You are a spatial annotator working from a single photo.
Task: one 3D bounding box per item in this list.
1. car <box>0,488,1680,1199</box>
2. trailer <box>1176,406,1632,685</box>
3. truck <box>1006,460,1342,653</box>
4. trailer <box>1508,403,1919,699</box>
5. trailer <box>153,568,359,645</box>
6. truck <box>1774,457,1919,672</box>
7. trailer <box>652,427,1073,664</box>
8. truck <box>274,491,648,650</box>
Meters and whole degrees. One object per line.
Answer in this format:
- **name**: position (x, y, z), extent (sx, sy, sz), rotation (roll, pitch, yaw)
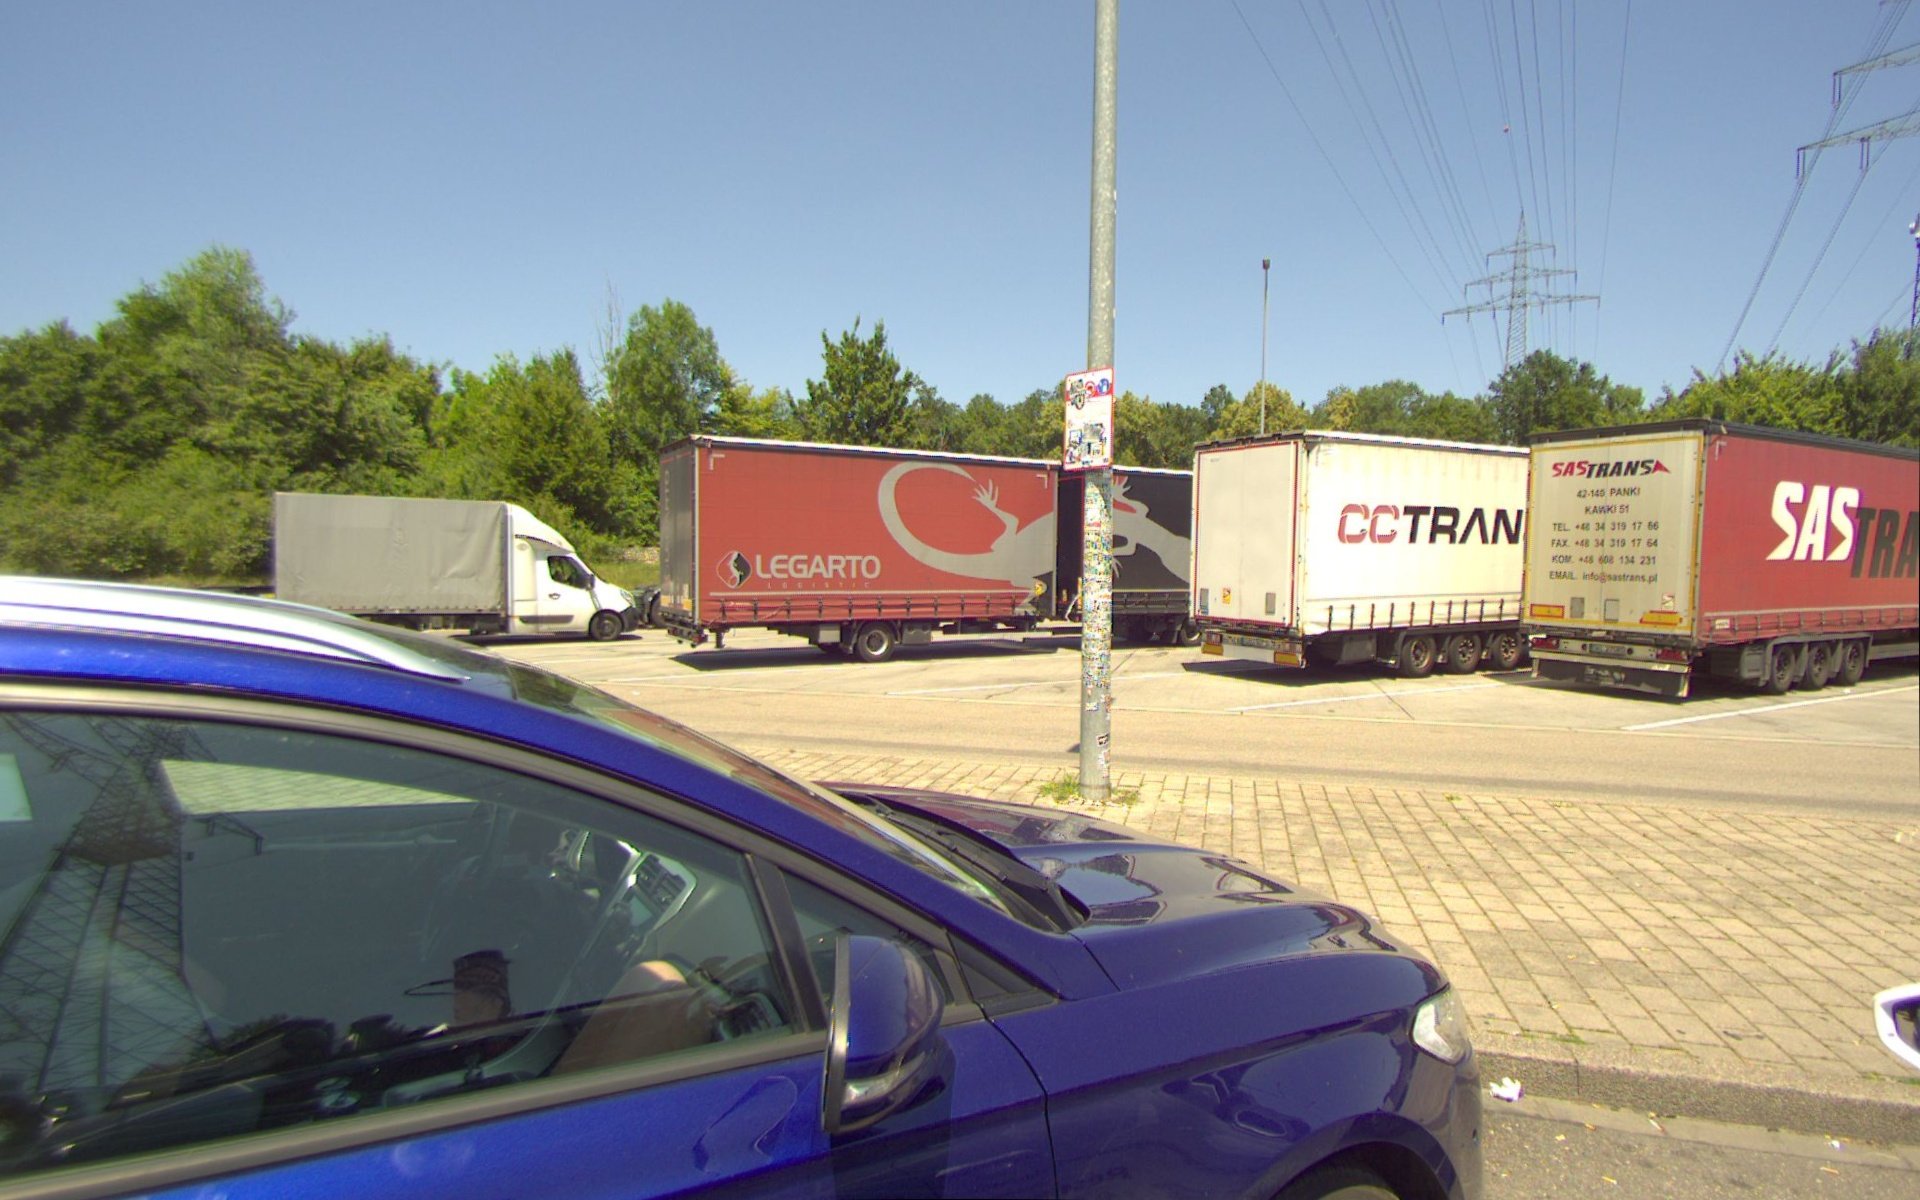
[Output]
- **car**: position (-1.002, 0.654, 1.472), extent (4.419, 1.485, 1.765), rotation (0, 1, -32)
- **trailer**: position (8.715, -0.832, 19.116), extent (9.614, 4.321, 2.733), rotation (0, 1, -29)
- **truck**: position (5.404, -0.913, 24.591), extent (8.534, 4.073, 2.624), rotation (0, 1, -30)
- **trailer**: position (15.272, -0.673, 18.499), extent (13.129, 4.112, 2.736), rotation (0, 1, -31)
- **trailer**: position (-16.502, 0.145, 23.781), extent (3.856, 1.684, 1.464), rotation (0, 1, -30)
- **truck**: position (20.822, -0.677, 21.783), extent (6.749, 4.136, 2.729), rotation (0, 1, -31)
- **trailer**: position (-1.787, -0.920, 20.317), extent (8.158, 4.027, 2.651), rotation (0, 1, -31)
- **truck**: position (-11.068, -0.606, 22.837), extent (7.265, 3.170, 2.352), rotation (0, 1, -30)
